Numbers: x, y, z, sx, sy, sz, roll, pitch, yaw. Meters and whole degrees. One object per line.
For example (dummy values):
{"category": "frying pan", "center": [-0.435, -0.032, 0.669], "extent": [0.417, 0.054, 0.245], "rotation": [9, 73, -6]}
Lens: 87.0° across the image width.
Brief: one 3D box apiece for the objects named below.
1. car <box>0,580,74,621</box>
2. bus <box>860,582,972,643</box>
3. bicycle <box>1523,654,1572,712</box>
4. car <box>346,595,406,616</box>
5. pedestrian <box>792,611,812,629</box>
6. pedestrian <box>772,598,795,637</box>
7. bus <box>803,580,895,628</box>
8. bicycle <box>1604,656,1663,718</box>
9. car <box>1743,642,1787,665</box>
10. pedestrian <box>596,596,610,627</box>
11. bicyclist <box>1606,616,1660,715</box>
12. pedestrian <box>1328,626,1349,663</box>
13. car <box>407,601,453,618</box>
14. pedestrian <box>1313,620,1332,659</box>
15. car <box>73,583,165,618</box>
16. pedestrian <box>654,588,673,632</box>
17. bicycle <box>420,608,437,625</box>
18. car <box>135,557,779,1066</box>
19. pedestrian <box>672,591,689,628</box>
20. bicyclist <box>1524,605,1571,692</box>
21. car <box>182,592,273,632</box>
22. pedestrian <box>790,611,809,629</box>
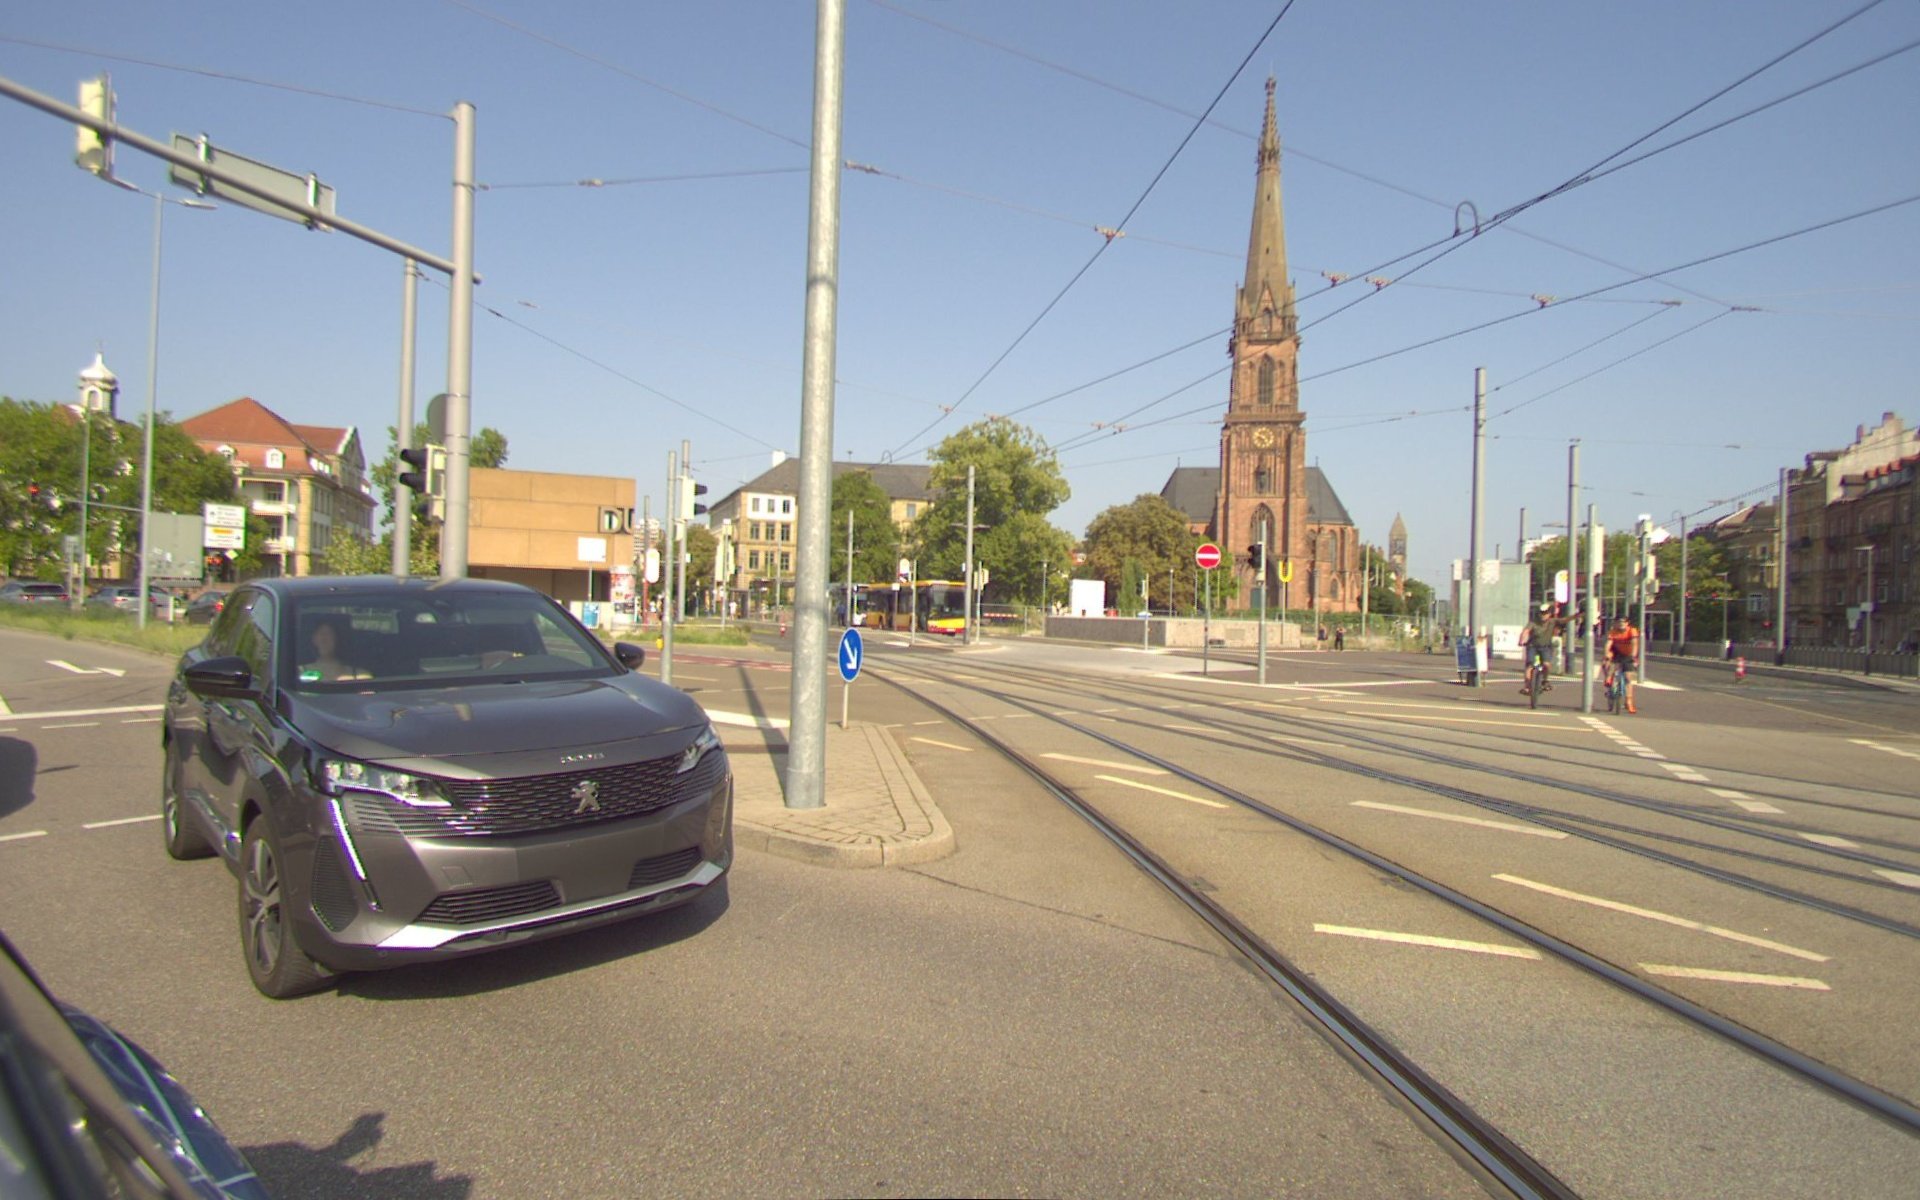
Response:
{"category": "car", "center": [-39.021, 0.002, 42.244], "extent": [4.443, 1.629, 1.682], "rotation": [1, -1, 30]}
{"category": "bus", "center": [-2.862, 0.710, 58.675], "extent": [2.669, 3.131, 12.254], "rotation": [2, -1, -21]}
{"category": "bicycle", "center": [10.679, 1.479, 18.426], "extent": [0.723, 0.939, 1.800], "rotation": [1, -1, 30]}
{"category": "car", "center": [-48.973, 0.489, 84.997], "extent": [1.979, 1.645, 4.356], "rotation": [1, -1, 11]}
{"category": "pedestrian", "center": [-10.197, 1.287, 65.228], "extent": [1.013, 1.142, 0.740], "rotation": [2, -1, -29]}
{"category": "pedestrian", "center": [-8.421, 0.838, 48.187], "extent": [0.699, 1.814, 0.771], "rotation": [1, -1, 34]}
{"category": "bus", "center": [-8.138, 0.320, 71.689], "extent": [3.242, 3.000, 12.838], "rotation": [2, -1, -21]}
{"category": "bicycle", "center": [11.746, 1.494, 17.696], "extent": [0.723, 0.939, 1.800], "rotation": [1, -1, 30]}
{"category": "car", "center": [67.578, 4.460, 85.058], "extent": [1.990, 1.691, 4.509], "rotation": [1, -1, 27]}
{"category": "pedestrian", "center": [-20.720, 0.676, 58.736], "extent": [0.707, 1.751, 0.859], "rotation": [2, -1, -23]}
{"category": "bicyclist", "center": [11.750, 1.125, 17.694], "extent": [0.723, 1.664, 0.875], "rotation": [1, -1, 30]}
{"category": "pedestrian", "center": [18.403, 2.157, 49.187], "extent": [0.751, 1.796, 0.698], "rotation": [0, -1, 38]}
{"category": "car", "center": [-47.906, 0.888, 91.566], "extent": [1.608, 1.509, 3.837], "rotation": [2, -1, 11]}
{"category": "pedestrian", "center": [17.772, 1.933, 49.571], "extent": [0.652, 1.880, 0.712], "rotation": [0, -1, 38]}
{"category": "car", "center": [-37.509, 0.034, 45.103], "extent": [4.208, 1.444, 1.801], "rotation": [1, -1, 30]}
{"category": "pedestrian", "center": [-12.502, 0.422, 42.693], "extent": [0.689, 1.814, 0.782], "rotation": [2, -1, -17]}
{"category": "bicycle", "center": [-28.004, 0.851, 53.363], "extent": [0.582, 0.844, 1.552], "rotation": [-1, 0, -20]}
{"category": "car", "center": [-2.872, 0.640, 5.155], "extent": [1.663, 1.503, 4.376], "rotation": [2, -1, -44]}
{"category": "pedestrian", "center": [-13.972, 0.469, 50.557], "extent": [0.689, 1.814, 0.783], "rotation": [2, -1, -24]}
{"category": "bicyclist", "center": [10.696, 0.866, 18.440], "extent": [0.723, 1.539, 0.788], "rotation": [1, -1, 30]}
{"category": "car", "center": [-28.588, 0.459, 39.479], "extent": [3.669, 1.463, 1.871], "rotation": [1, -1, 37]}
{"category": "pedestrian", "center": [-10.470, 1.317, 66.056], "extent": [1.013, 1.142, 0.740], "rotation": [2, -1, -29]}
